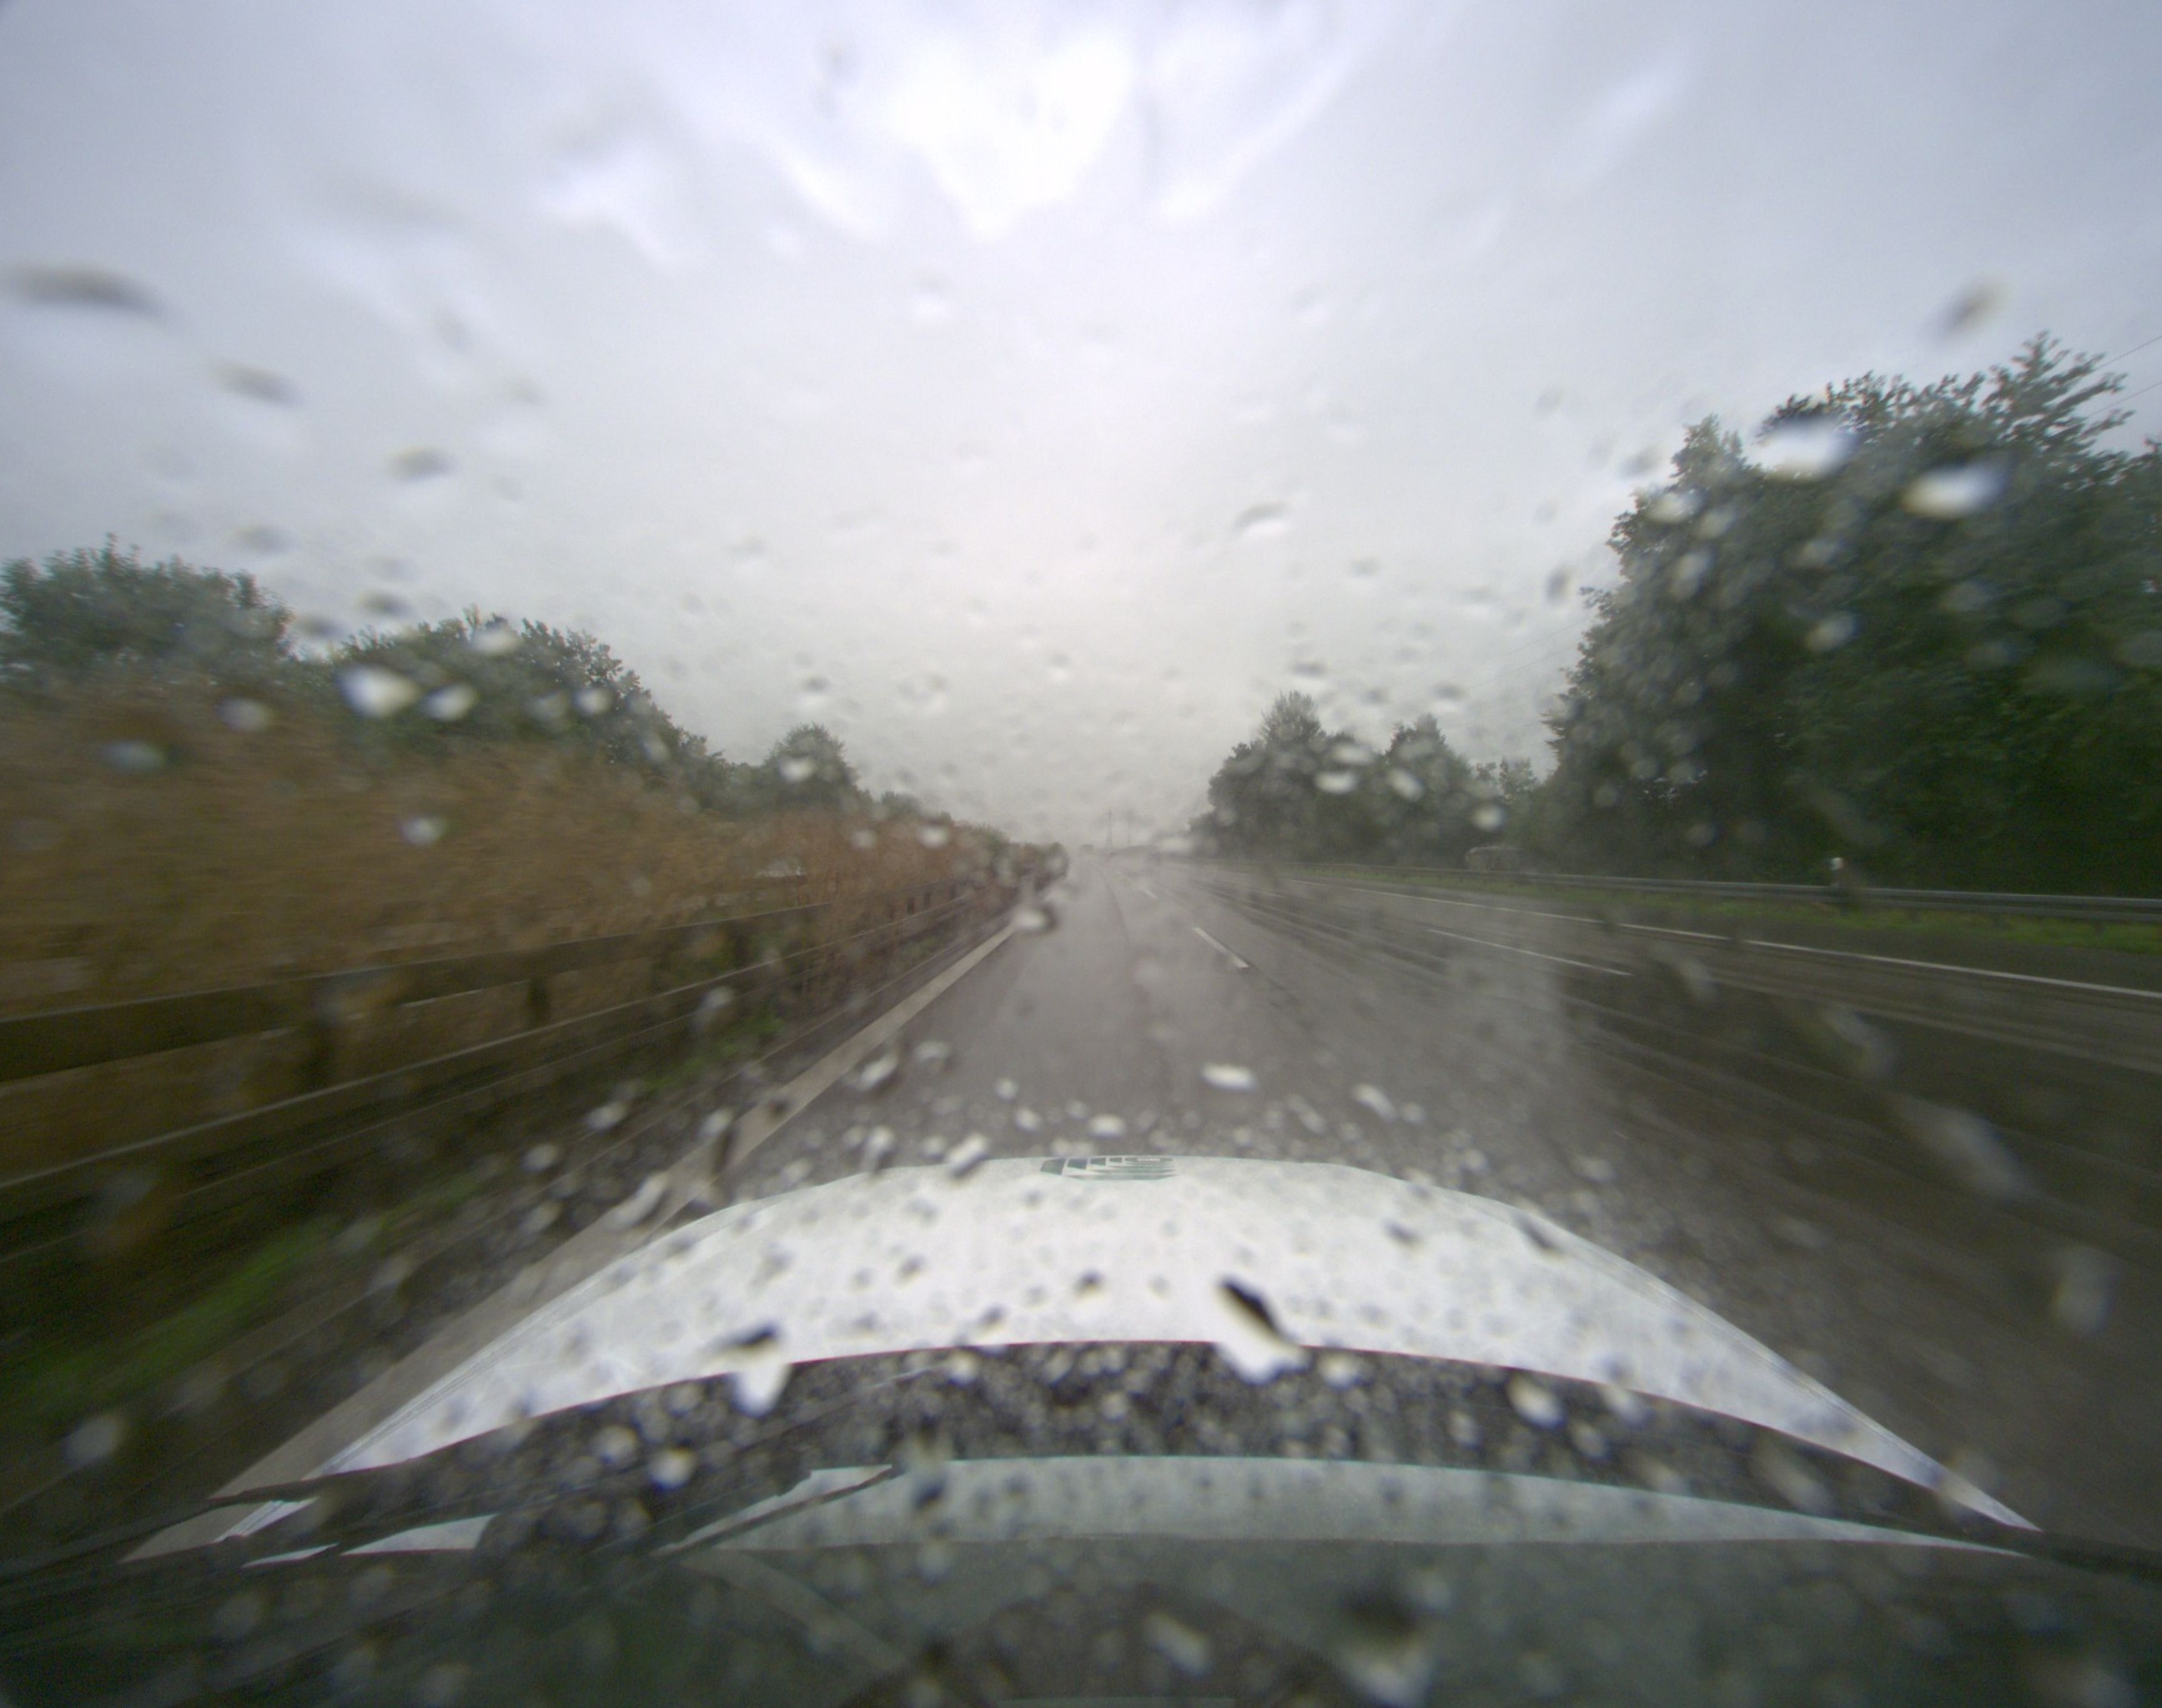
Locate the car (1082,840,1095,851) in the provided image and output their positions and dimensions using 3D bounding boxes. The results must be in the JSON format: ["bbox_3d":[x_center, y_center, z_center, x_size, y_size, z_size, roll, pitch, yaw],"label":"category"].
[{"bbox_3d":[2.246,-2.491,246.494,3.194,3.192,7.246,0,0,-4],"label":"car"}]

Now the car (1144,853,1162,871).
[{"bbox_3d":[8.941,0.958,101.134,1.802,2.158,3.997,0,0,-2],"label":"car"}]
